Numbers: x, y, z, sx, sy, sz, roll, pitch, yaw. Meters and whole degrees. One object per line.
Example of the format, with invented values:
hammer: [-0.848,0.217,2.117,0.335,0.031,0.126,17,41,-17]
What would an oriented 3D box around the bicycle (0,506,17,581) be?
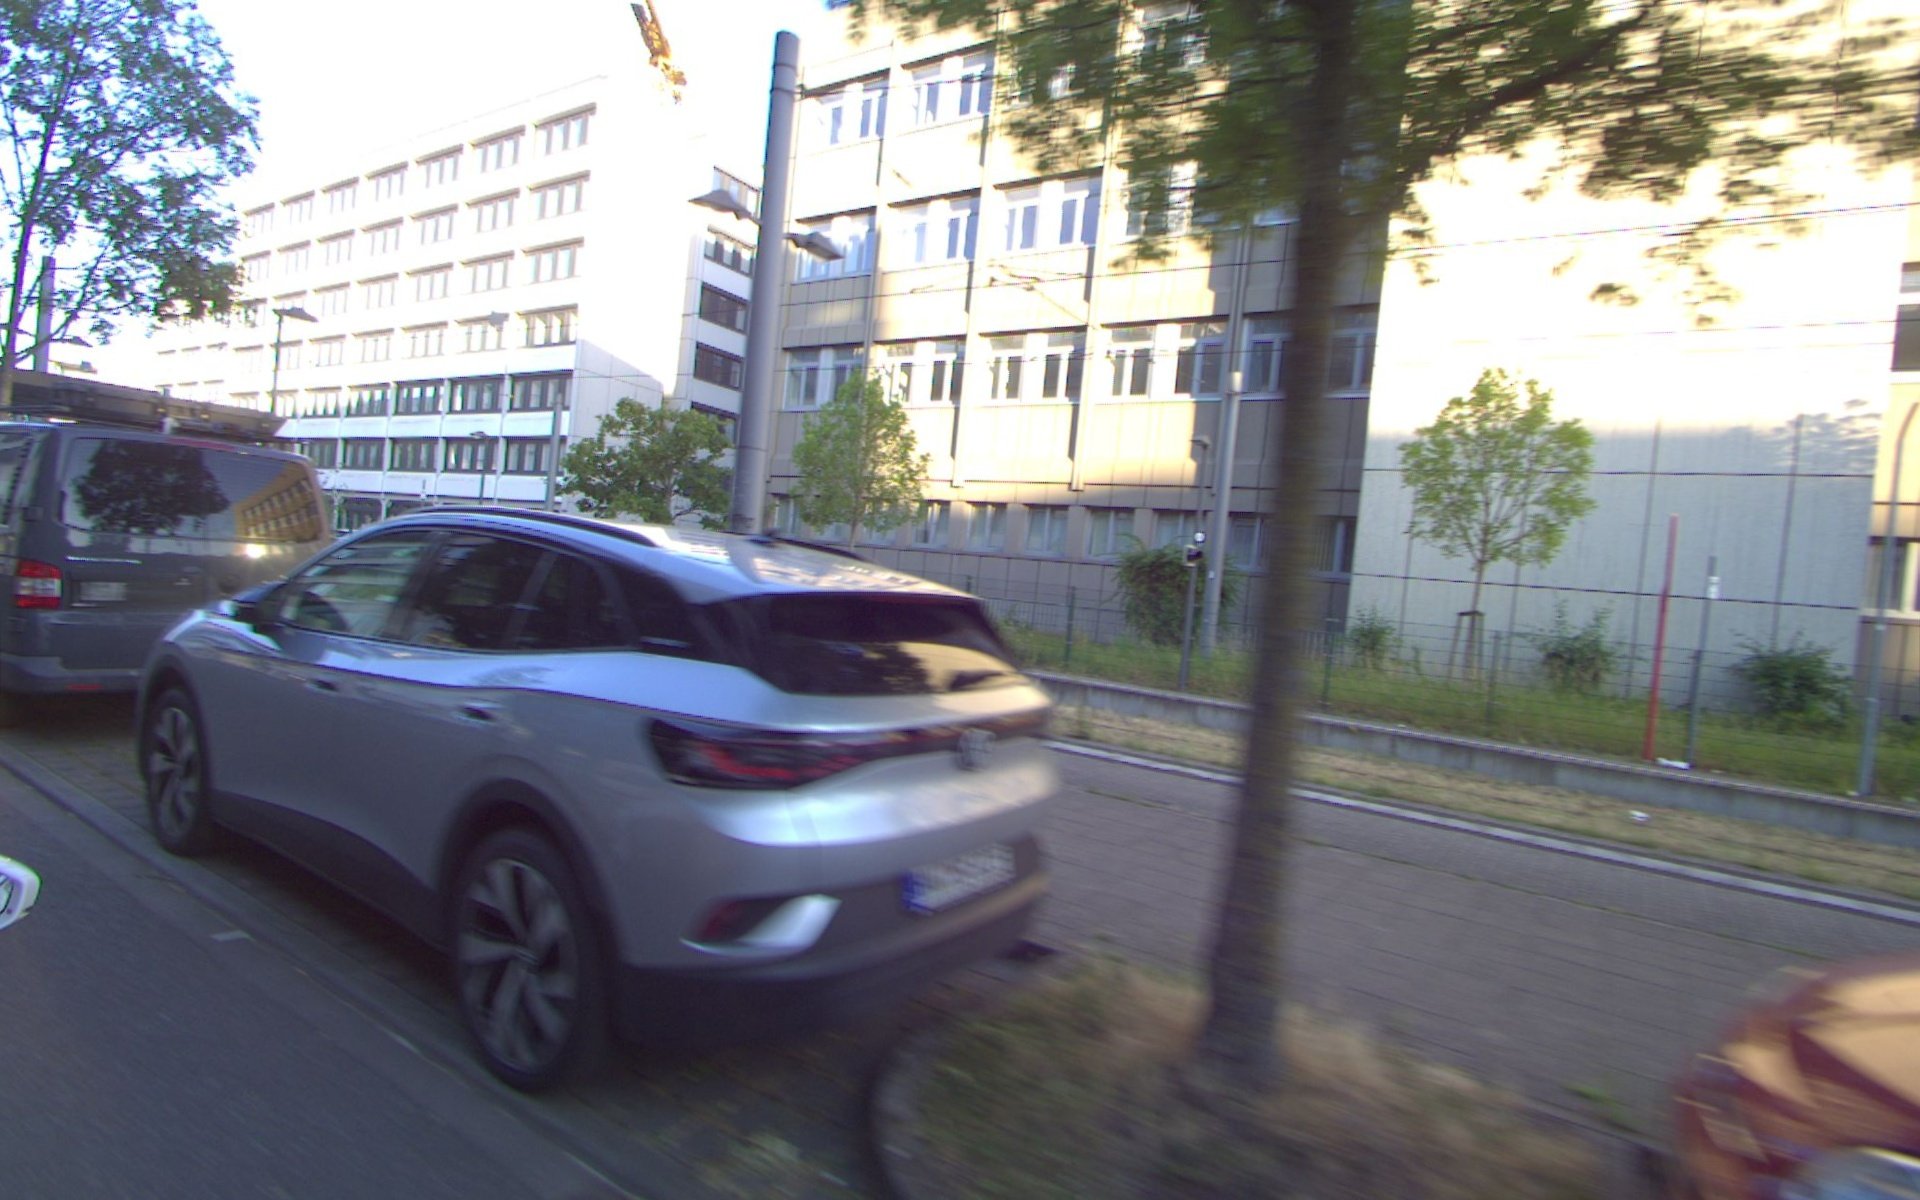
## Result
bicycle: [-14.578,-0.874,14.157,0.479,1.080,1.806,6,1,33]

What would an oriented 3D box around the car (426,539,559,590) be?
car: [-16.644,-1.238,35.985,1.649,1.507,3.984,6,2,35]

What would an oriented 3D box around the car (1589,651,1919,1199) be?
car: [3.130,1.051,1.069,4.064,1.513,1.707,6,2,33]

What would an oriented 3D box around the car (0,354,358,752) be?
car: [-6.734,-0.429,7.588,4.658,2.206,1.804,6,2,33]

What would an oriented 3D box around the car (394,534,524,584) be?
car: [-18.550,-1.486,37.367,1.649,1.507,3.984,6,2,35]

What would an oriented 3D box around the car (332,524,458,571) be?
car: [-22.373,-2.044,39.959,1.649,1.507,3.984,6,2,35]

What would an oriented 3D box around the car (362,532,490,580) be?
car: [-20.460,-1.659,38.694,1.649,1.507,3.984,6,2,35]

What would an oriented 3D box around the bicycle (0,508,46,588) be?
bicycle: [-13.621,-0.765,13.647,0.414,1.080,1.720,6,1,33]

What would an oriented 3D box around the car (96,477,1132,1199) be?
car: [-1.737,0.450,4.126,4.409,1.601,1.706,6,2,35]
